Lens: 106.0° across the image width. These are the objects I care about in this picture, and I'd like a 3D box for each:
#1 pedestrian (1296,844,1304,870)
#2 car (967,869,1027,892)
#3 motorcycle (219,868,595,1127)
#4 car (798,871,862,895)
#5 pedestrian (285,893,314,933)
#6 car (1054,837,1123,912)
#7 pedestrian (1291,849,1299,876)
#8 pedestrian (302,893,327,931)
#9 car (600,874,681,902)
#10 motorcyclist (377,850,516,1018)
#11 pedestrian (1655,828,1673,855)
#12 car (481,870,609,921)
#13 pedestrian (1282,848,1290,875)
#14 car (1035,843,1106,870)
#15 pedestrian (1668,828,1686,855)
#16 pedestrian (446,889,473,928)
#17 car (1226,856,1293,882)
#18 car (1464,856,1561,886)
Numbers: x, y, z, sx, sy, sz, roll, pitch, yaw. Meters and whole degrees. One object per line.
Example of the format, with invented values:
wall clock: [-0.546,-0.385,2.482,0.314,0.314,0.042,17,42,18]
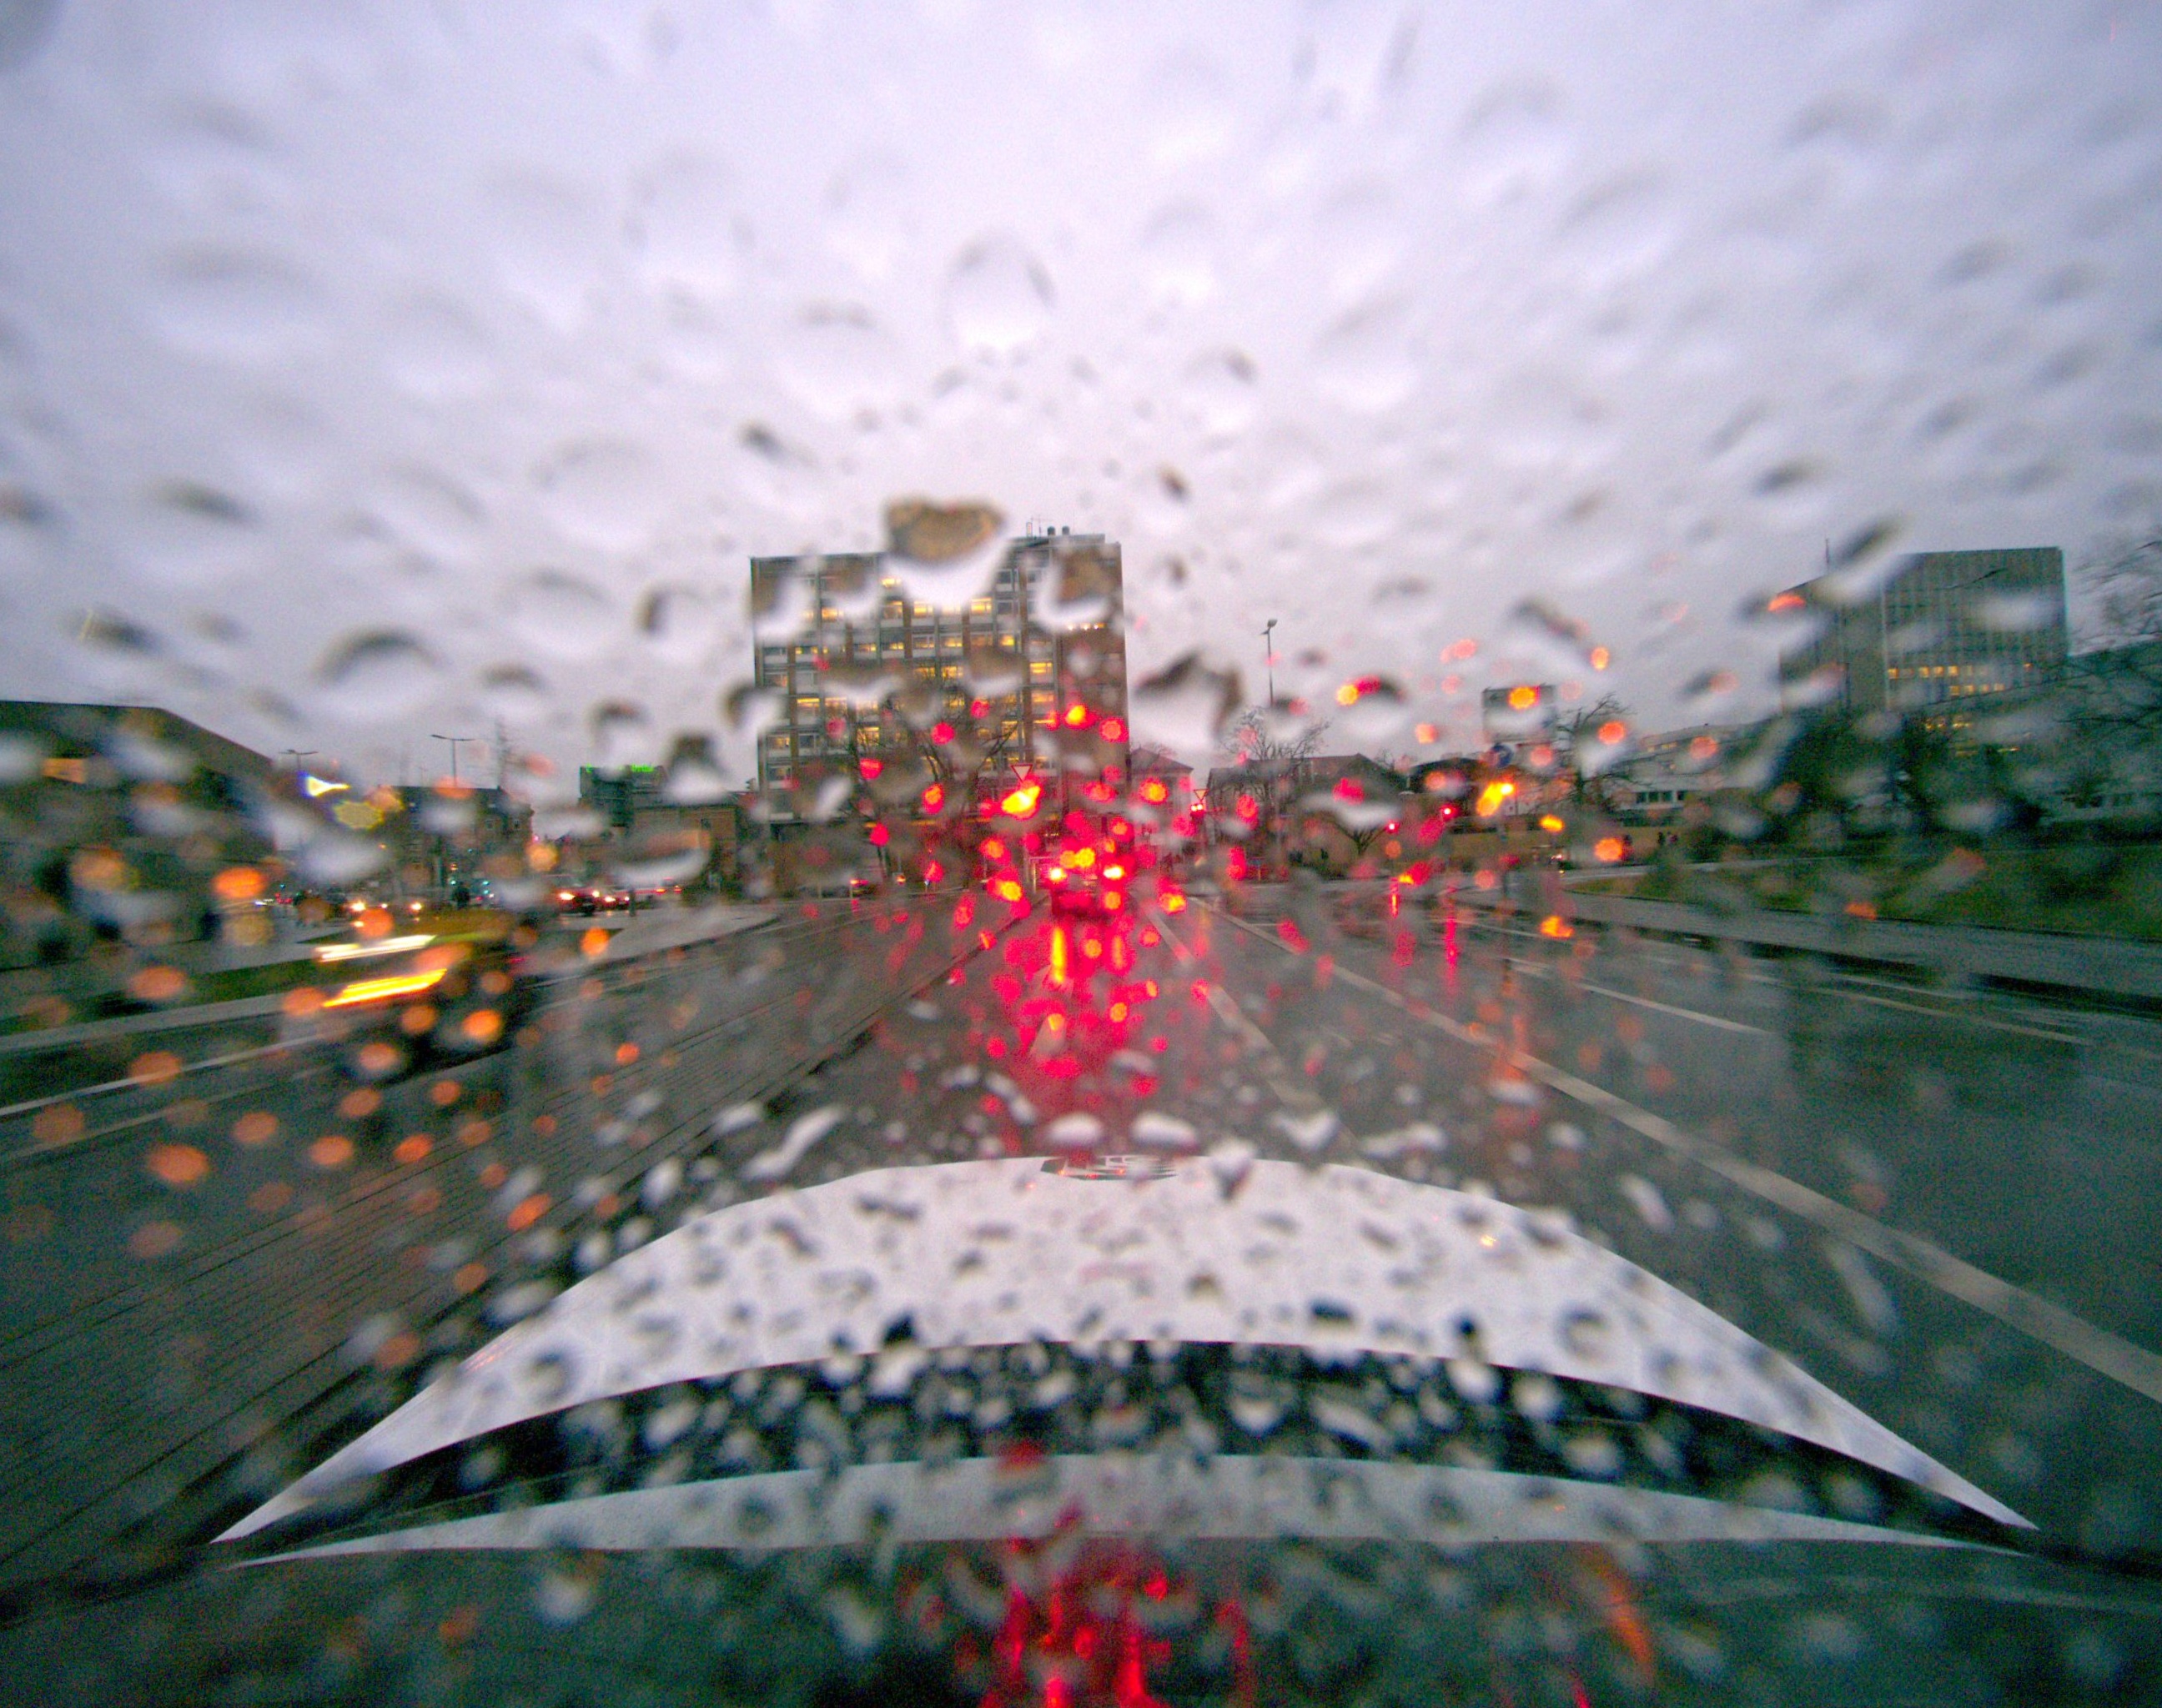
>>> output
pedestrian: [15.329,0.212,56.946,0.434,1.839,0.462,-2,-2,20]
car: [-5.270,1.678,51.171,3.384,1.398,1.475,-1,-2,16]
motorcycle: [-4.768,0.884,6.085,0.826,1.497,2.314,-3,0,0]
car: [-16.514,1.887,53.594,3.886,1.486,1.475,-1,-2,16]
pedestrian: [-36.088,2.705,37.598,0.687,1.815,0.683,-1,-2,15]
car: [0.232,0.491,21.946,1.641,1.819,4.001,-1,0,1]
pedestrian: [14.701,0.589,56.000,0.454,1.839,0.441,-2,-2,18]
pedestrian: [-35.942,2.719,38.201,0.605,1.772,0.587,-1,-2,15]
car: [-31.575,2.426,58.389,5.115,1.913,2.008,-1,-1,16]
motorcyclist: [-4.750,0.579,6.128,0.533,1.193,0.611,-1,-2,2]
pedestrian: [39.332,-0.835,54.956,0.620,1.725,0.761,-1,-2,8]
car: [-24.871,1.933,37.837,4.981,2.282,2.268,-2,-2,17]
pedestrian: [14.404,0.540,57.143,0.434,1.839,0.462,-2,-2,19]
car: [-0.828,0.194,65.796,5.517,2.024,2.004,-1,-2,7]
pedestrian: [39.275,-0.843,53.713,0.620,1.725,0.761,-1,-2,8]
pedestrian: [-28.120,2.458,36.852,0.456,1.697,0.801,-2,-2,25]
car: [10.453,0.882,47.625,3.763,1.398,1.570,-1,-2,13]
car: [23.908,0.972,45.256,4.401,1.580,1.975,-1,-2,14]
